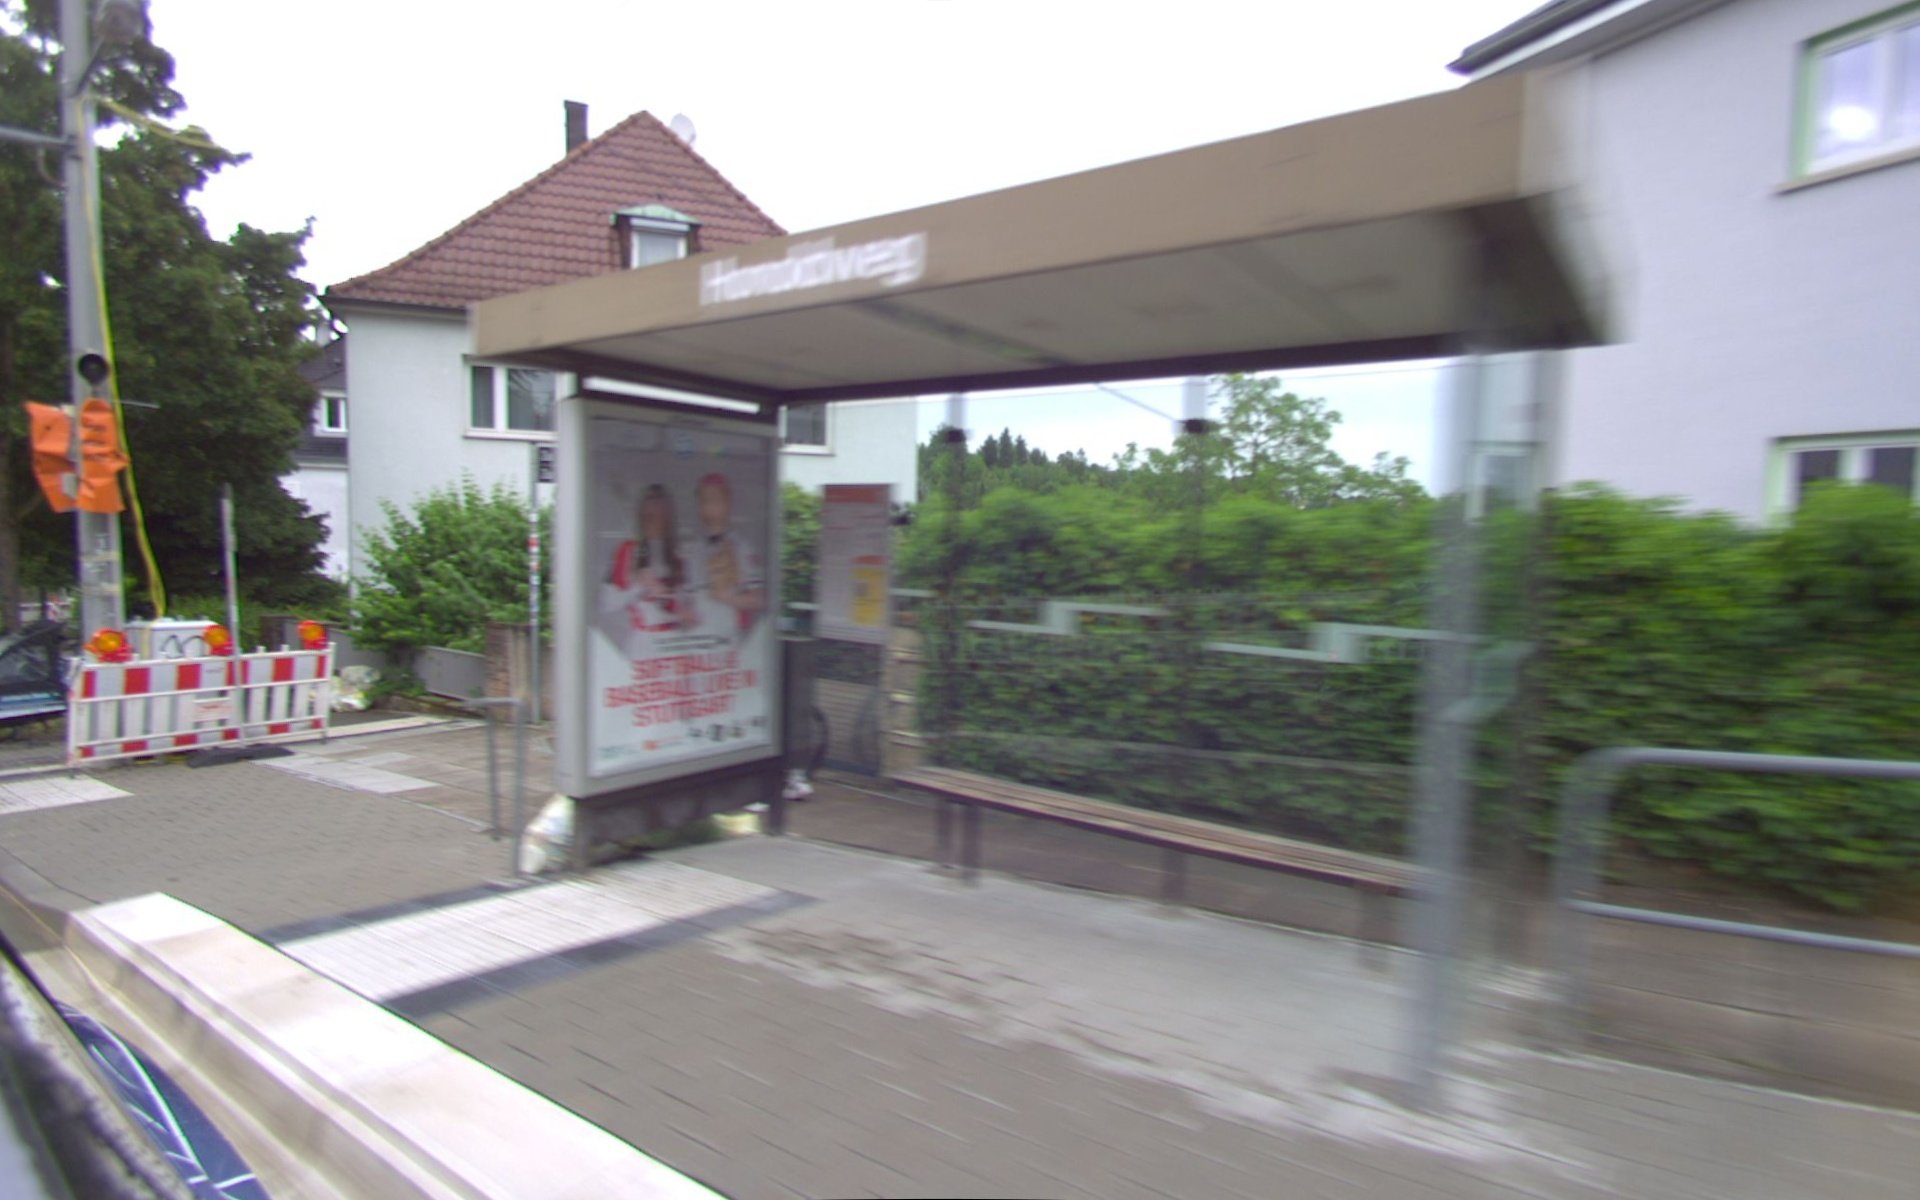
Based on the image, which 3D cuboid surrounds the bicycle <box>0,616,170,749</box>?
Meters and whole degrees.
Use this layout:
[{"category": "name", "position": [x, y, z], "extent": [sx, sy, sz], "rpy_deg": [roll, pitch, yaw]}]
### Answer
[{"category": "bicycle", "position": [-10.256, 0.887, 11.236], "extent": [0.807, 1.372, 2.212], "rpy_deg": [0, 0, 31]}]

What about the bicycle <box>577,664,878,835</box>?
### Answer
[{"category": "bicycle", "position": [-1.655, 1.001, 7.380], "extent": [1.849, 0.939, 1.098], "rpy_deg": [0, 0, -44]}]

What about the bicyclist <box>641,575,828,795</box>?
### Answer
[{"category": "bicyclist", "position": [-1.649, 0.556, 7.384], "extent": [0.895, 1.450, 1.098], "rpy_deg": [0, 0, -44]}]

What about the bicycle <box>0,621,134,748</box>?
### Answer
[{"category": "bicycle", "position": [-10.666, 0.964, 11.667], "extent": [0.417, 1.355, 1.678], "rpy_deg": [-2, 1, 32]}]

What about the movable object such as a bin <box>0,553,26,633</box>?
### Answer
[{"category": "movable object such as a bin", "position": [-47.693, -0.311, 47.177], "extent": [3.275, 3.868, 7.226], "rpy_deg": [0, 1, -17]}]
